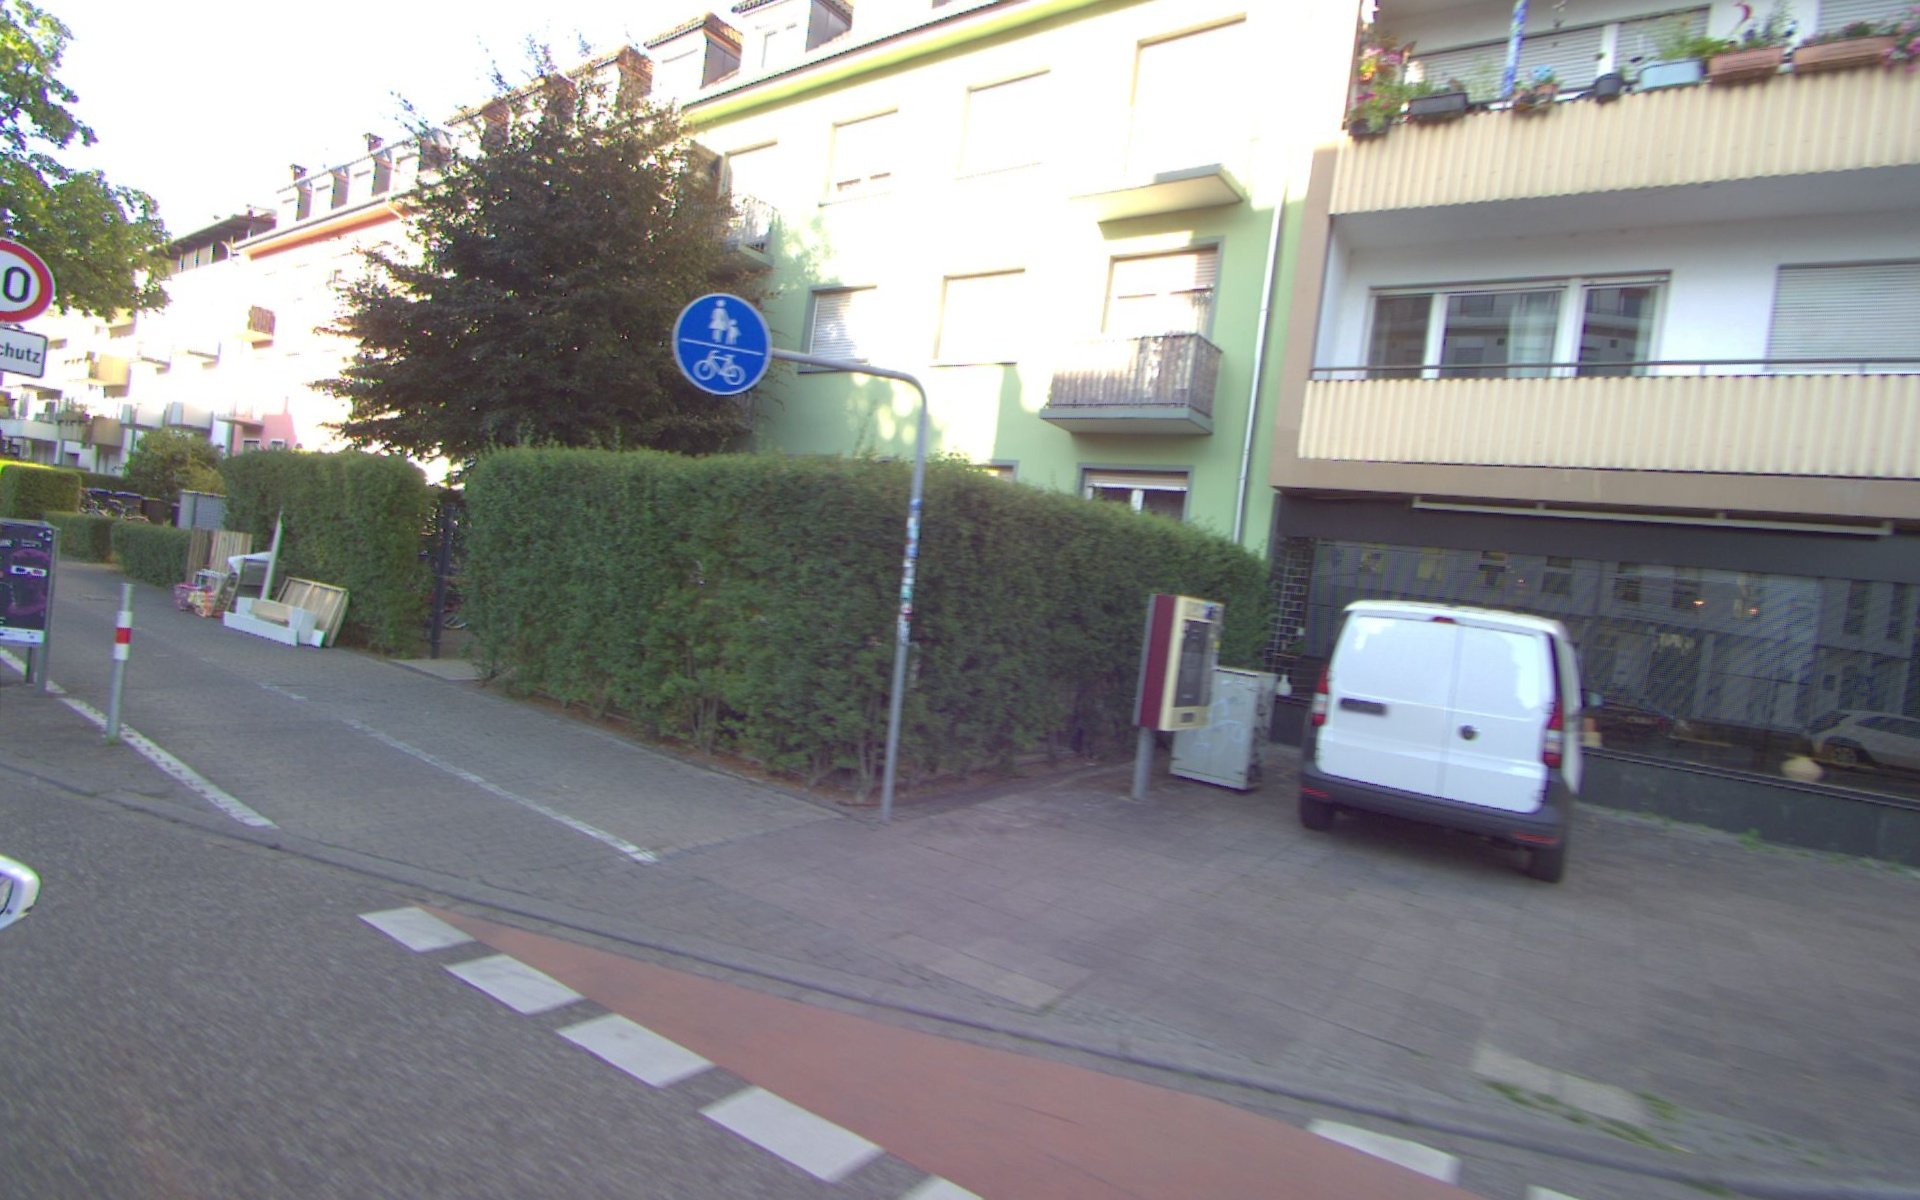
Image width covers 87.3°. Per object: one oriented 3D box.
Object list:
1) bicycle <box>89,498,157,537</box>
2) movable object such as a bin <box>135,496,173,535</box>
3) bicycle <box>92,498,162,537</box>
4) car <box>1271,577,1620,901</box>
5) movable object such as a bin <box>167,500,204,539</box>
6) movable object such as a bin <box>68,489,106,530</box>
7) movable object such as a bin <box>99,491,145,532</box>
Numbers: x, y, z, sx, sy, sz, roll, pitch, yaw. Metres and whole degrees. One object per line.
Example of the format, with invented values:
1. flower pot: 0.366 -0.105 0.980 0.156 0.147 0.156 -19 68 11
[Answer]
1. bicycle: -23.234 -2.275 27.937 0.359 0.864 1.359 9 1 37
2. movable object such as a bin: -23.300 -2.445 29.070 0.784 1.015 0.611 8 2 37
3. bicycle: -22.884 -2.266 27.652 0.363 0.864 1.369 9 1 38
4. car: 4.261 1.002 8.425 1.832 1.837 4.089 8 1 35
5. movable object such as a bin: -22.858 -2.386 29.690 0.784 1.015 0.611 8 2 37
6. movable object such as a bin: -24.140 -2.505 27.817 0.784 1.015 0.581 8 2 37
7. movable object such as a bin: -23.729 -2.503 28.485 0.784 1.015 0.776 8 1 37
